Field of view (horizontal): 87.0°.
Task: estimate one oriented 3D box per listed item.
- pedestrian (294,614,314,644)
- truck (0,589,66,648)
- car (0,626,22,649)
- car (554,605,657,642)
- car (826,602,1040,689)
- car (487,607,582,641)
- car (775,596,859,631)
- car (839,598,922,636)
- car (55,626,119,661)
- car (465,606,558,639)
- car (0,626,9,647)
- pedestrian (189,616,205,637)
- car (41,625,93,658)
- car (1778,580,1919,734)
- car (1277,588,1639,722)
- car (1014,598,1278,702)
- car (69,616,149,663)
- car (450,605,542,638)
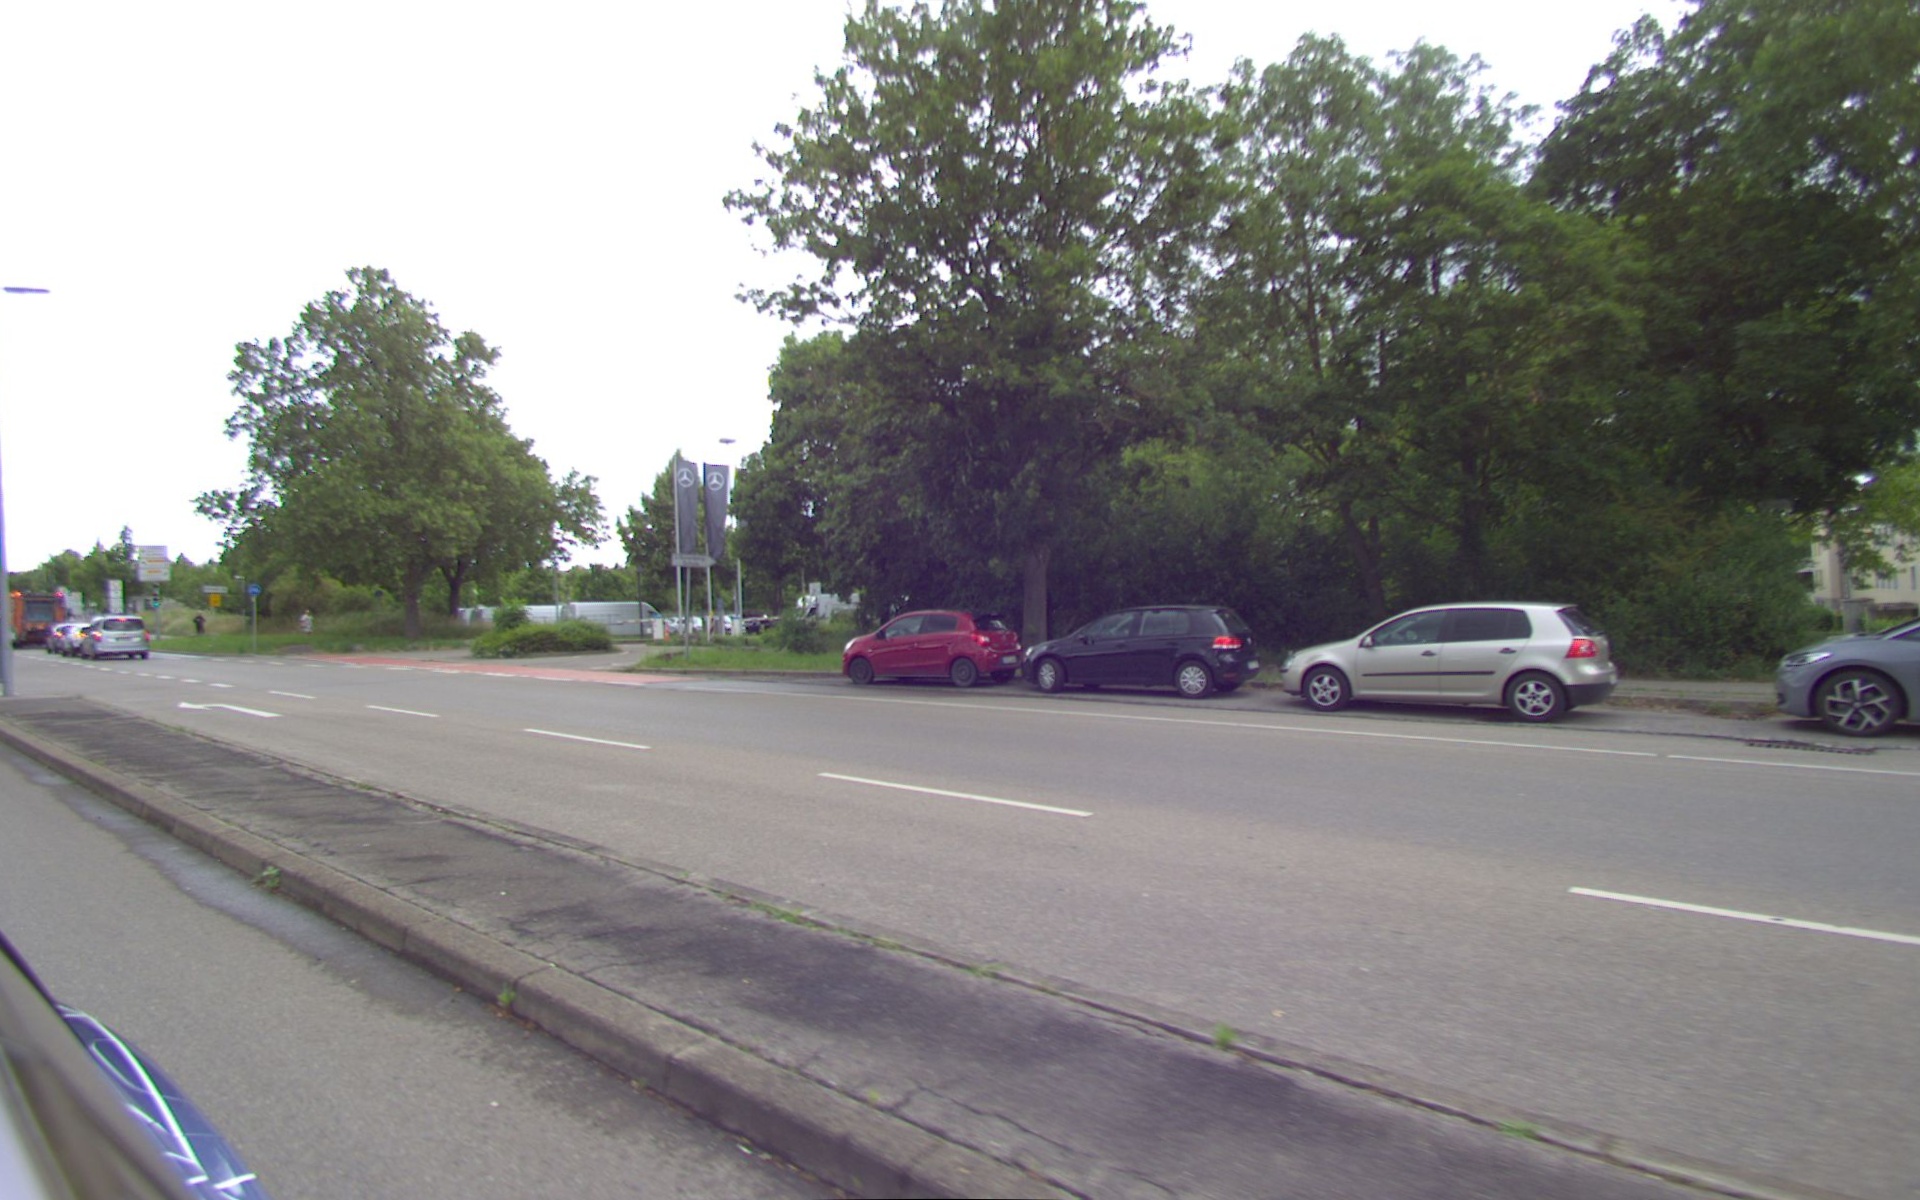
[{"bbox_3d":[-38.966,1.694,60.105,0.637,1.750,0.749,-1,1,32],"label":"pedestrian"},{"bbox_3d":[-58.240,1.128,63.420,7.826,3.507,2.793,-1,0,45],"label":"truck"},{"bbox_3d":[-69.168,2.700,73.402,3.353,1.630,1.570,-2,-1,45],"label":"car"},{"bbox_3d":[-20.043,1.337,57.452,2.010,2.029,5.231,0,-1,39],"label":"car"},{"bbox_3d":[-0.577,0.864,20.107,3.878,1.518,1.860,-2,0,34],"label":"car"},{"bbox_3d":[-26.338,1.504,62.791,1.739,2.029,5.229,-1,-1,41],"label":"car"},{"bbox_3d":[-11.103,1.029,79.090,1.999,2.431,6.866,-1,1,41],"label":"car"},{"bbox_3d":[-5.680,1.175,73.557,1.997,2.431,6.876,-1,1,37],"label":"car"},{"bbox_3d":[-40.095,1.976,46.460,4.121,1.497,1.710,-2,-2,42],"label":"car"},{"bbox_3d":[-28.667,1.452,64.830,1.738,2.029,5.231,-1,-1,39],"label":"car"},{"bbox_3d":[-75.503,2.844,79.150,3.585,1.630,1.570,-2,-1,45],"label":"car"},{"bbox_3d":[-53.153,1.850,70.464,0.639,1.458,0.747,-1,1,41],"label":"pedestrian"},{"bbox_3d":[-45.942,2.107,52.068,3.350,1.574,1.618,-2,-1,42],"label":"car"},{"bbox_3d":[10.933,0.542,10.256,3.999,1.518,1.855,-2,0,42],"label":"car"},{"bbox_3d":[6.636,0.660,13.696,4.053,1.518,1.856,-1,1,40],"label":"car"},{"bbox_3d":[3.110,0.785,17.091,3.986,1.518,1.861,-1,1,32],"label":"car"},{"bbox_3d":[-35.681,1.627,42.374,4.403,1.783,1.810,-2,0,40],"label":"car"},{"bbox_3d":[-30.366,1.407,66.400,1.738,2.029,5.231,-1,-1,39],"label":"car"}]
